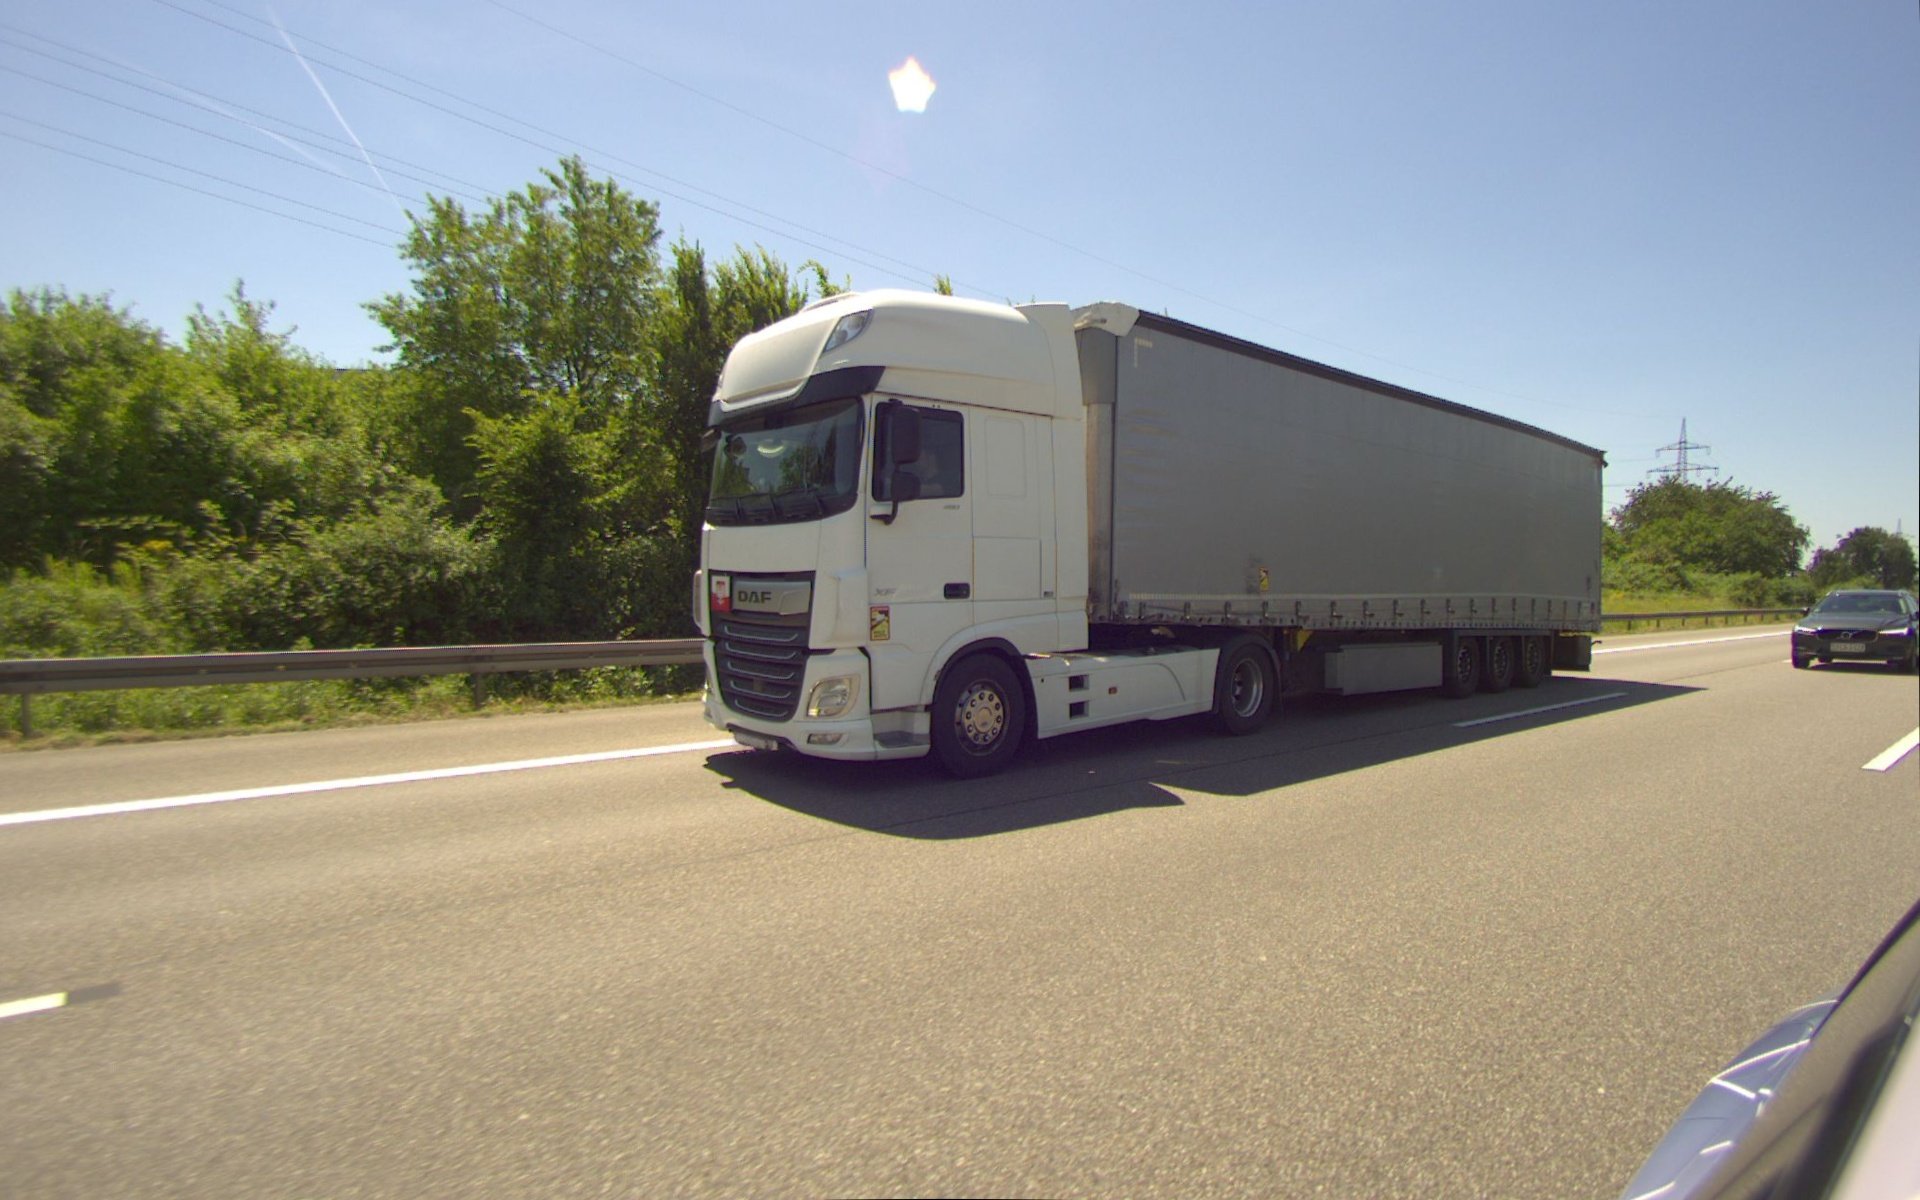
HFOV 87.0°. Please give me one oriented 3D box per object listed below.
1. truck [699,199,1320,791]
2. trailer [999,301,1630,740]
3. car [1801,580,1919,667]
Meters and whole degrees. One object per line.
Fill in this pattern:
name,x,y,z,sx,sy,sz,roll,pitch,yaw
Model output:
truck,0.781,-0.771,10.154,6.017,4.171,2.741,0,1,-41
trailer,6.203,-0.808,14.880,12.893,4.158,2.741,0,1,-41
car,19.158,0.433,21.124,3.934,1.643,1.877,0,1,-41
